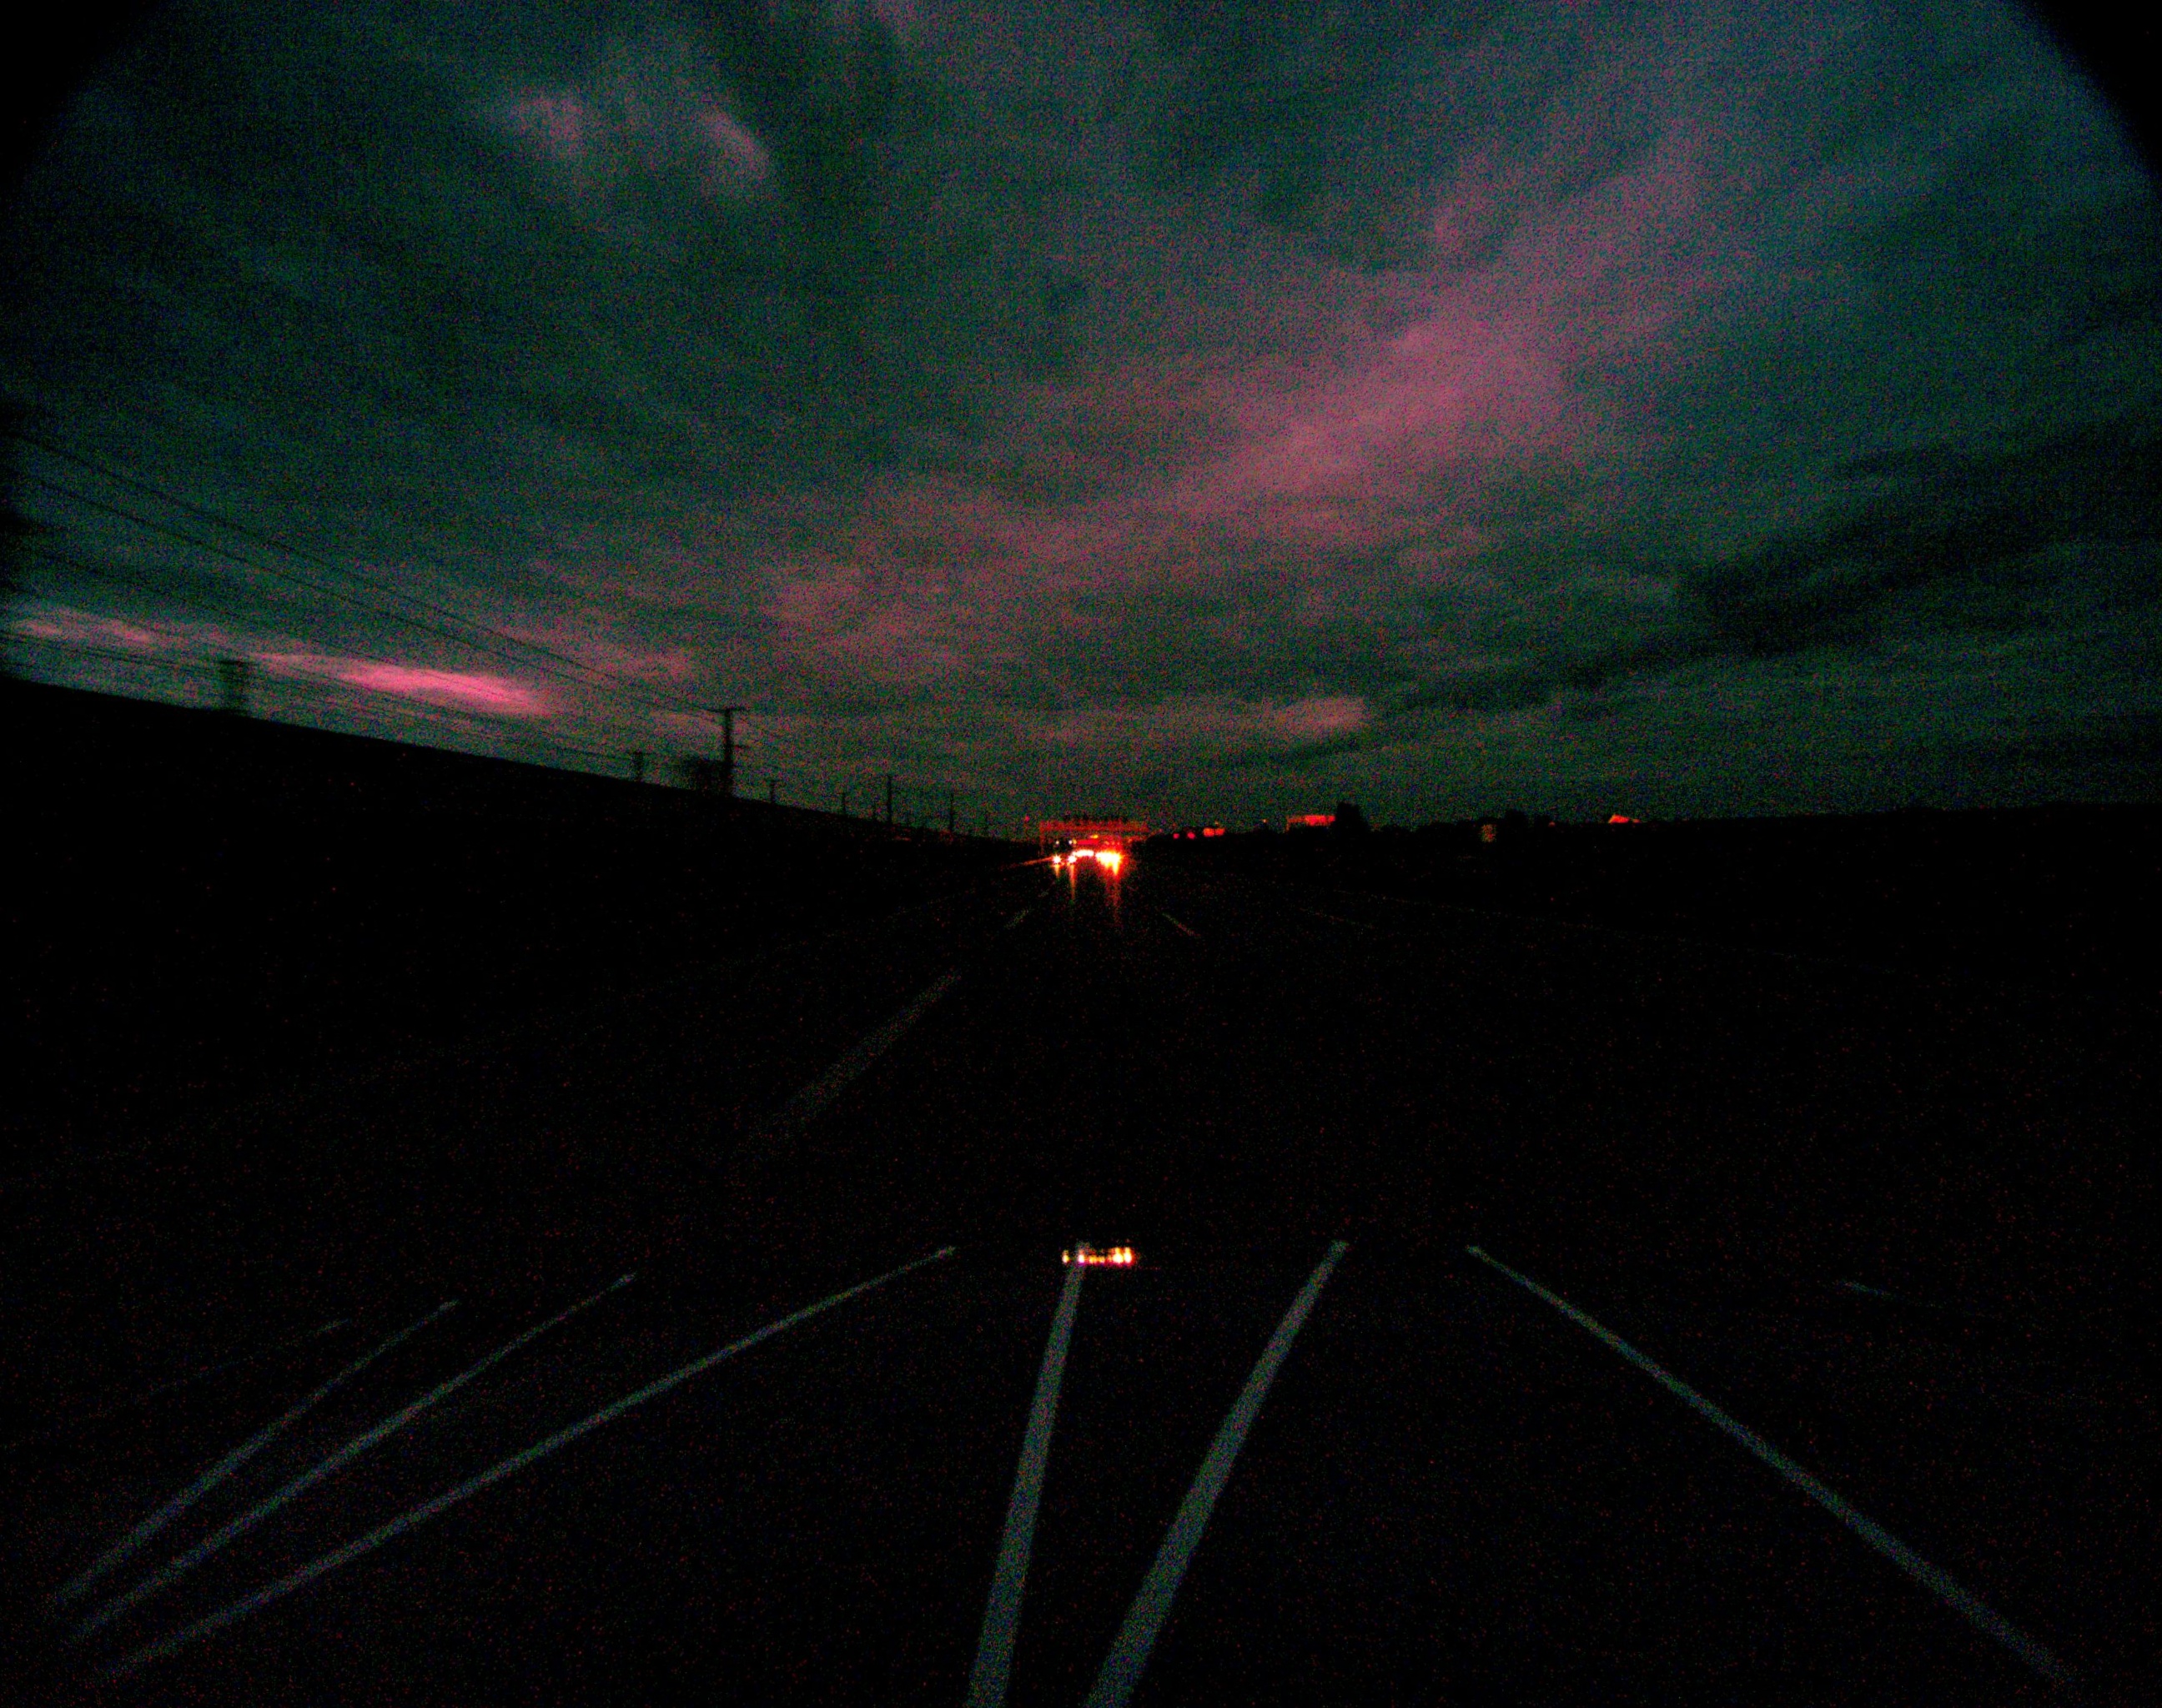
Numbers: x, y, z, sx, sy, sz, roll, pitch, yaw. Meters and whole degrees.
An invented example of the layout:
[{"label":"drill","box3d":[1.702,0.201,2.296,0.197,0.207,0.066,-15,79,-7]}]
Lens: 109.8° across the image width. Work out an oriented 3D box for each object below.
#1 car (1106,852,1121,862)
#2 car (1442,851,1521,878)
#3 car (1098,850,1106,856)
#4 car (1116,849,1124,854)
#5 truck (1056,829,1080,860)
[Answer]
[{"label":"car","box3d":[4.868,0.398,115.884,1.999,1.341,4.175,4,0,0]},{"label":"car","box3d":[20.997,0.518,40.025,1.998,1.342,4.175,-1,0,1]},{"label":"car","box3d":[5.359,-0.308,196.126,1.998,1.342,4.175,-1,0,1]},{"label":"car","box3d":[11.034,-0.668,216.587,1.999,1.342,4.174,-1,0,-1]},{"label":"truck","box3d":[-1.835,-1.232,108.931,3.060,4.046,10.522,2,-1,0]}]
